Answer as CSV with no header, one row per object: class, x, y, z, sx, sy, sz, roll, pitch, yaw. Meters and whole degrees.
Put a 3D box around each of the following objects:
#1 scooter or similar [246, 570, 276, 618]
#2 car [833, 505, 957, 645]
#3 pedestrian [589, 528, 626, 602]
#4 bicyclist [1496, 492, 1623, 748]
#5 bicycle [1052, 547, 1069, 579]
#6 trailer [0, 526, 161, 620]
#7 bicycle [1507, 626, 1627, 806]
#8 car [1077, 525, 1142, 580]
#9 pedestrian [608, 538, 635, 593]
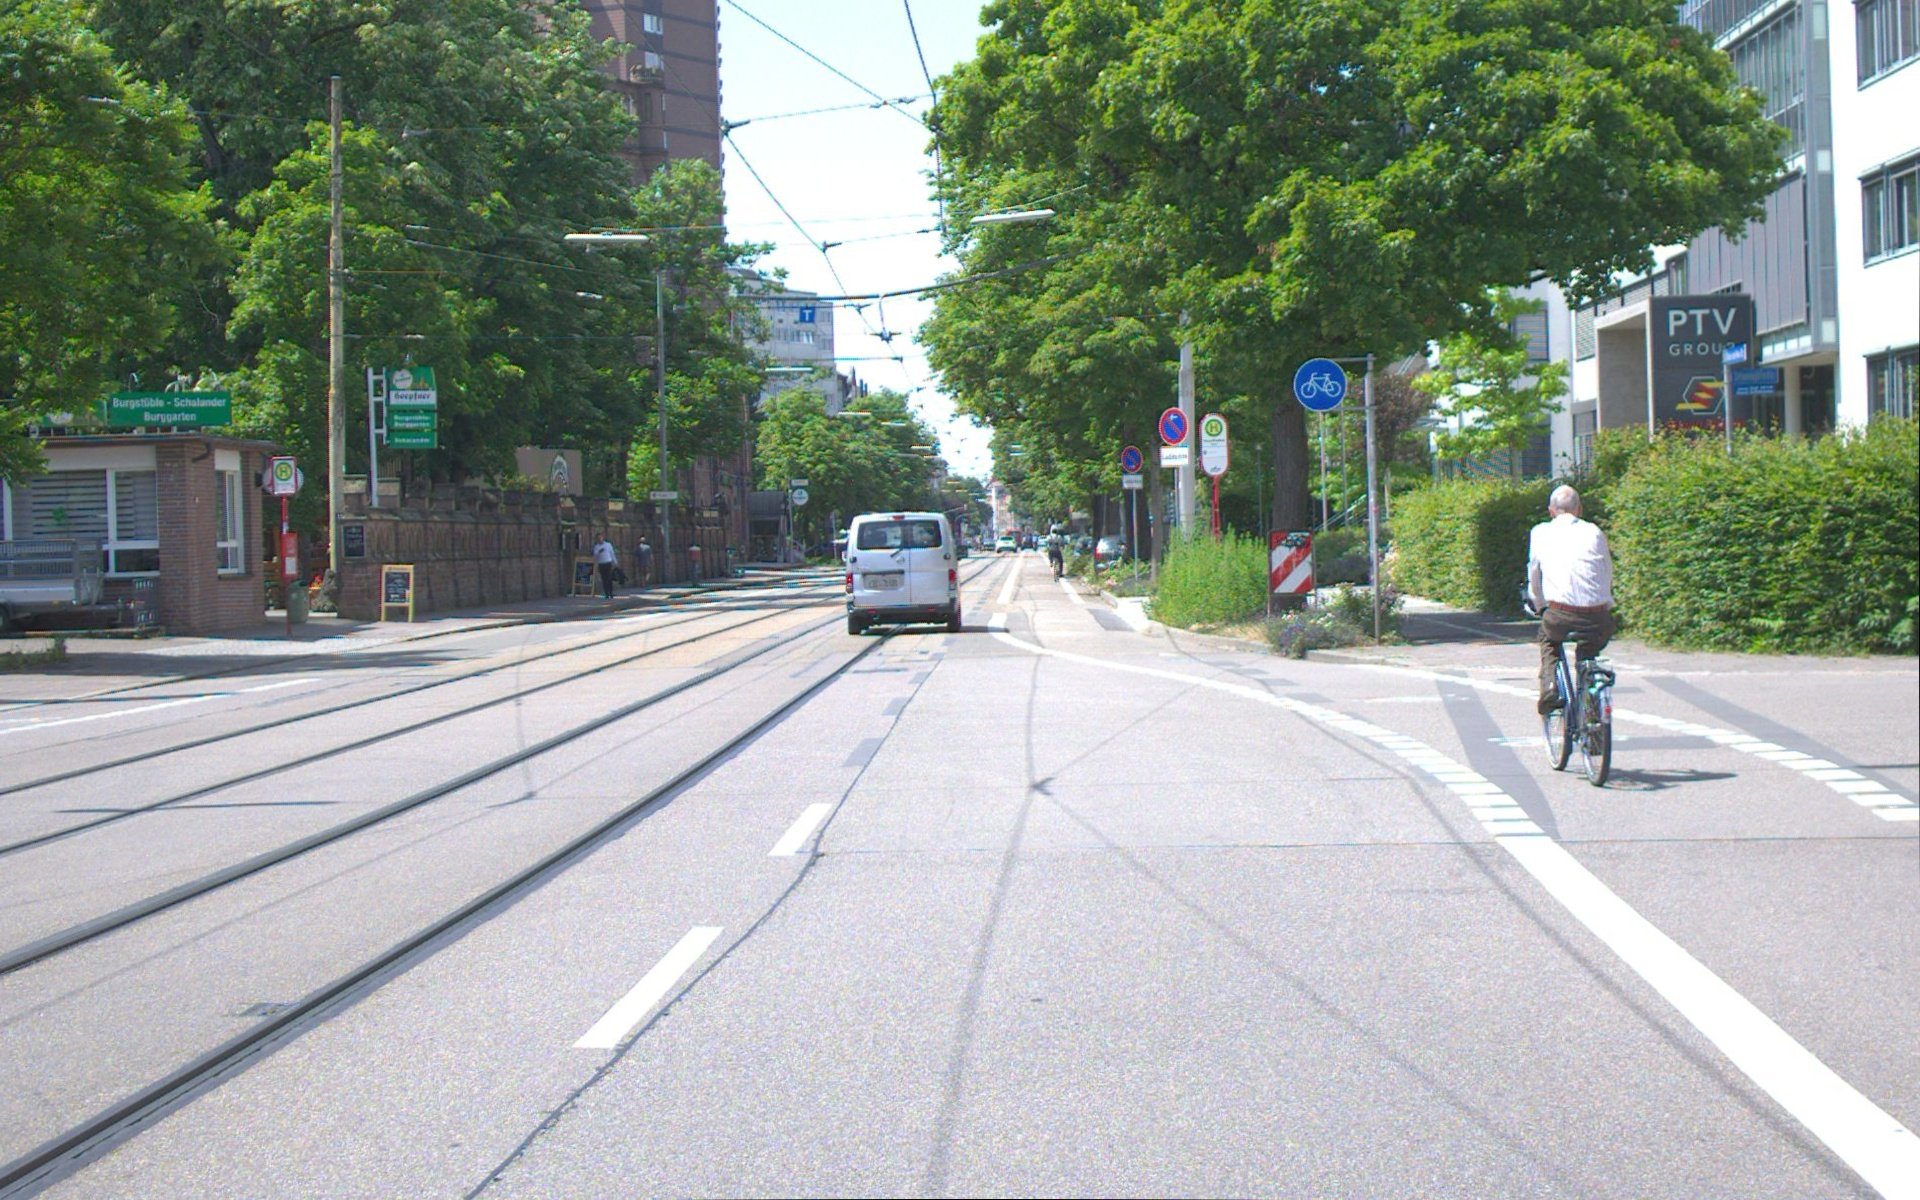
scooter or similar,-12.982,-0.112,63.848,0.432,0.860,0.500,-1,0,-1
car,-0.998,-0.431,53.403,1.752,2.006,4.000,-3,2,-1
pedestrian,-9.905,-0.980,96.497,0.863,2.007,0.646,-3,0,-1
bicyclist,3.348,0.101,19.249,0.591,1.392,0.841,-1,1,4
bicycle,3.222,-1.180,110.048,0.387,0.960,1.699,-3,0,-1
trailer,-14.887,-0.446,57.456,2.727,1.521,1.329,-1,0,2
bicycle,3.388,0.625,19.286,0.466,0.884,2.048,-1,1,5
car,4.395,-1.385,101.328,1.585,1.484,3.456,-3,0,-1
pedestrian,-10.850,-1.106,110.307,0.677,1.721,0.983,-3,0,-1
